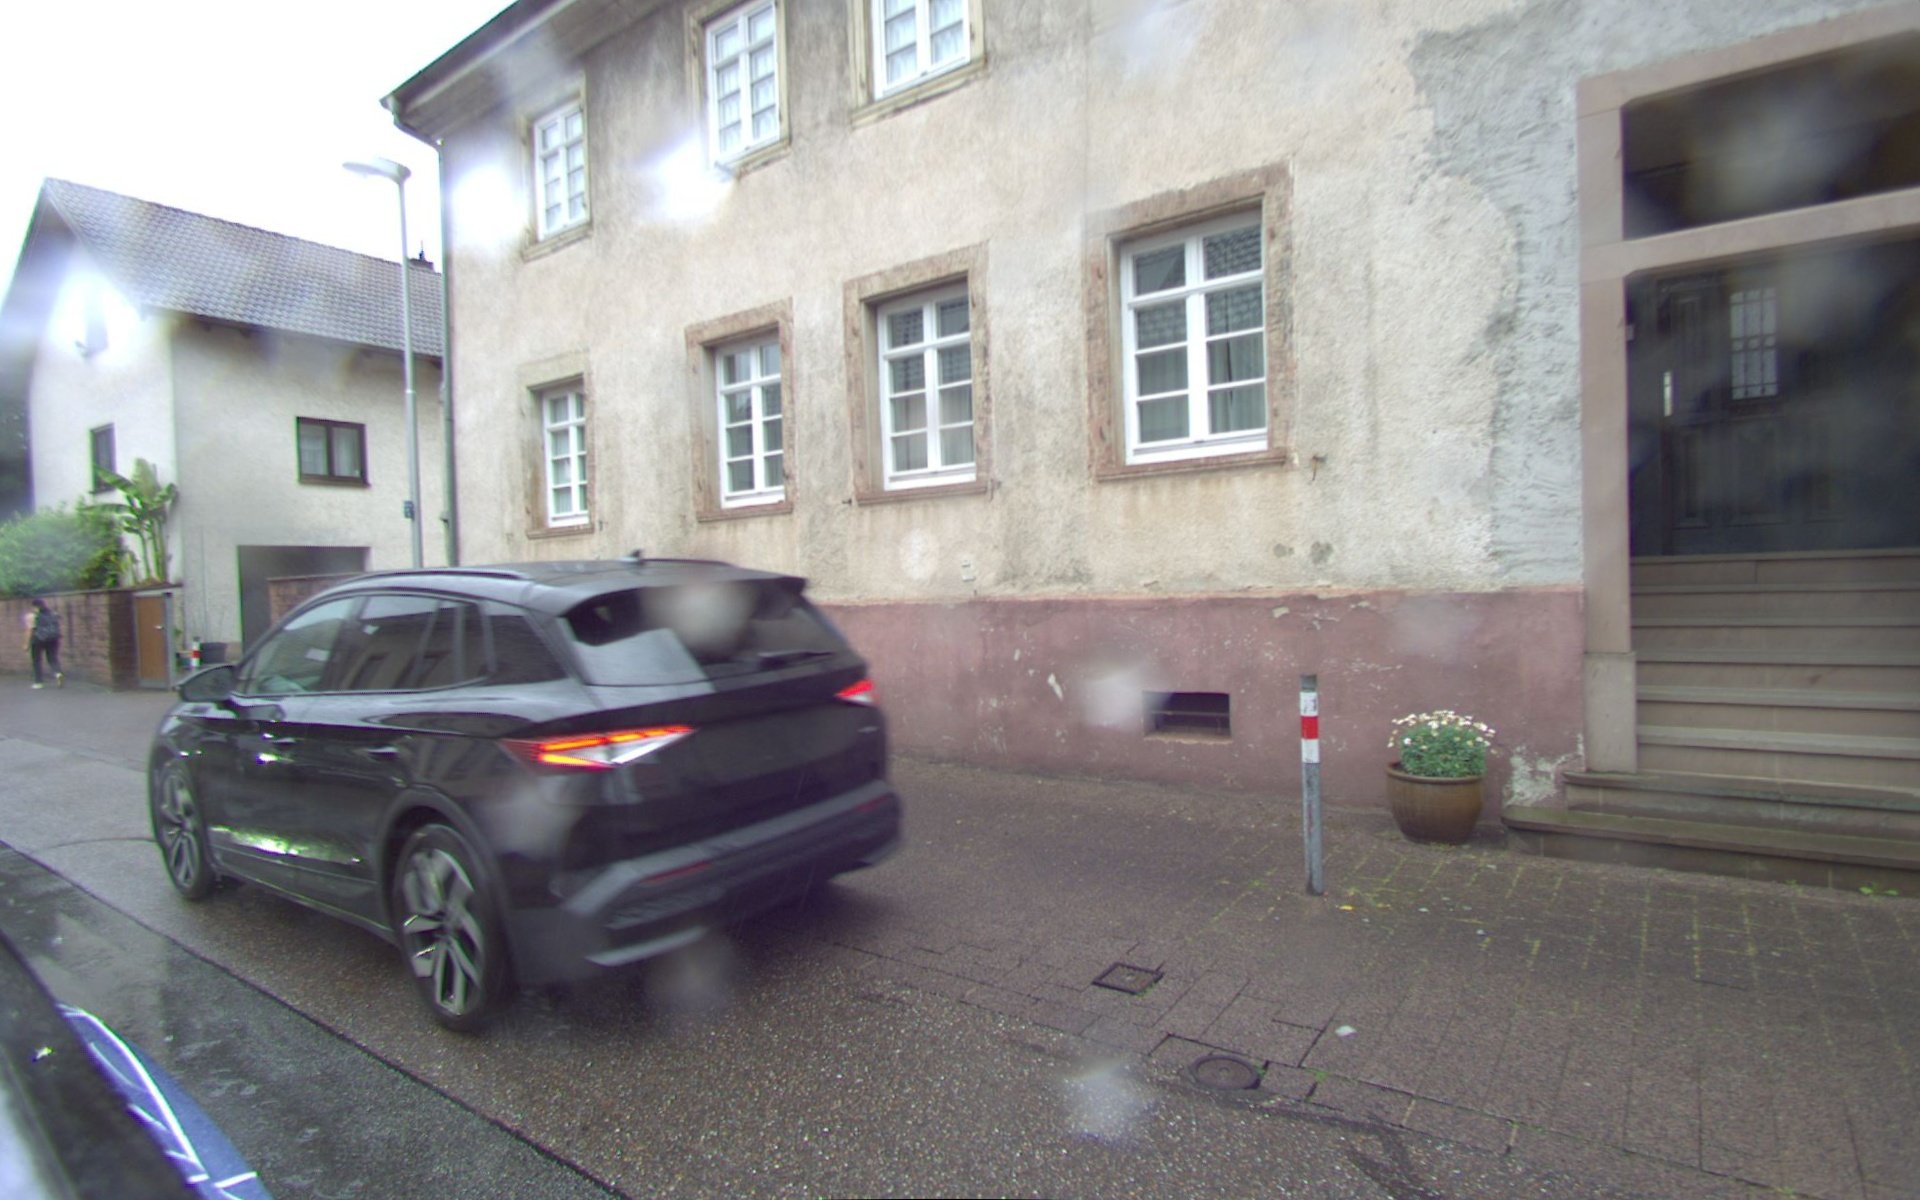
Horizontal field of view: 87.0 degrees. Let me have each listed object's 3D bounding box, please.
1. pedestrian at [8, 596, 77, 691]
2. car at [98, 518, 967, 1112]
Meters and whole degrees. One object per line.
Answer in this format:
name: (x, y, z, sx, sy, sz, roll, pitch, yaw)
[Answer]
pedestrian: (-15.569, 0.726, 17.175, 0.830, 1.549, 0.568, -1, 2, 31)
car: (-2.235, 0.566, 4.766, 4.233, 1.566, 1.816, -1, 5, 38)
